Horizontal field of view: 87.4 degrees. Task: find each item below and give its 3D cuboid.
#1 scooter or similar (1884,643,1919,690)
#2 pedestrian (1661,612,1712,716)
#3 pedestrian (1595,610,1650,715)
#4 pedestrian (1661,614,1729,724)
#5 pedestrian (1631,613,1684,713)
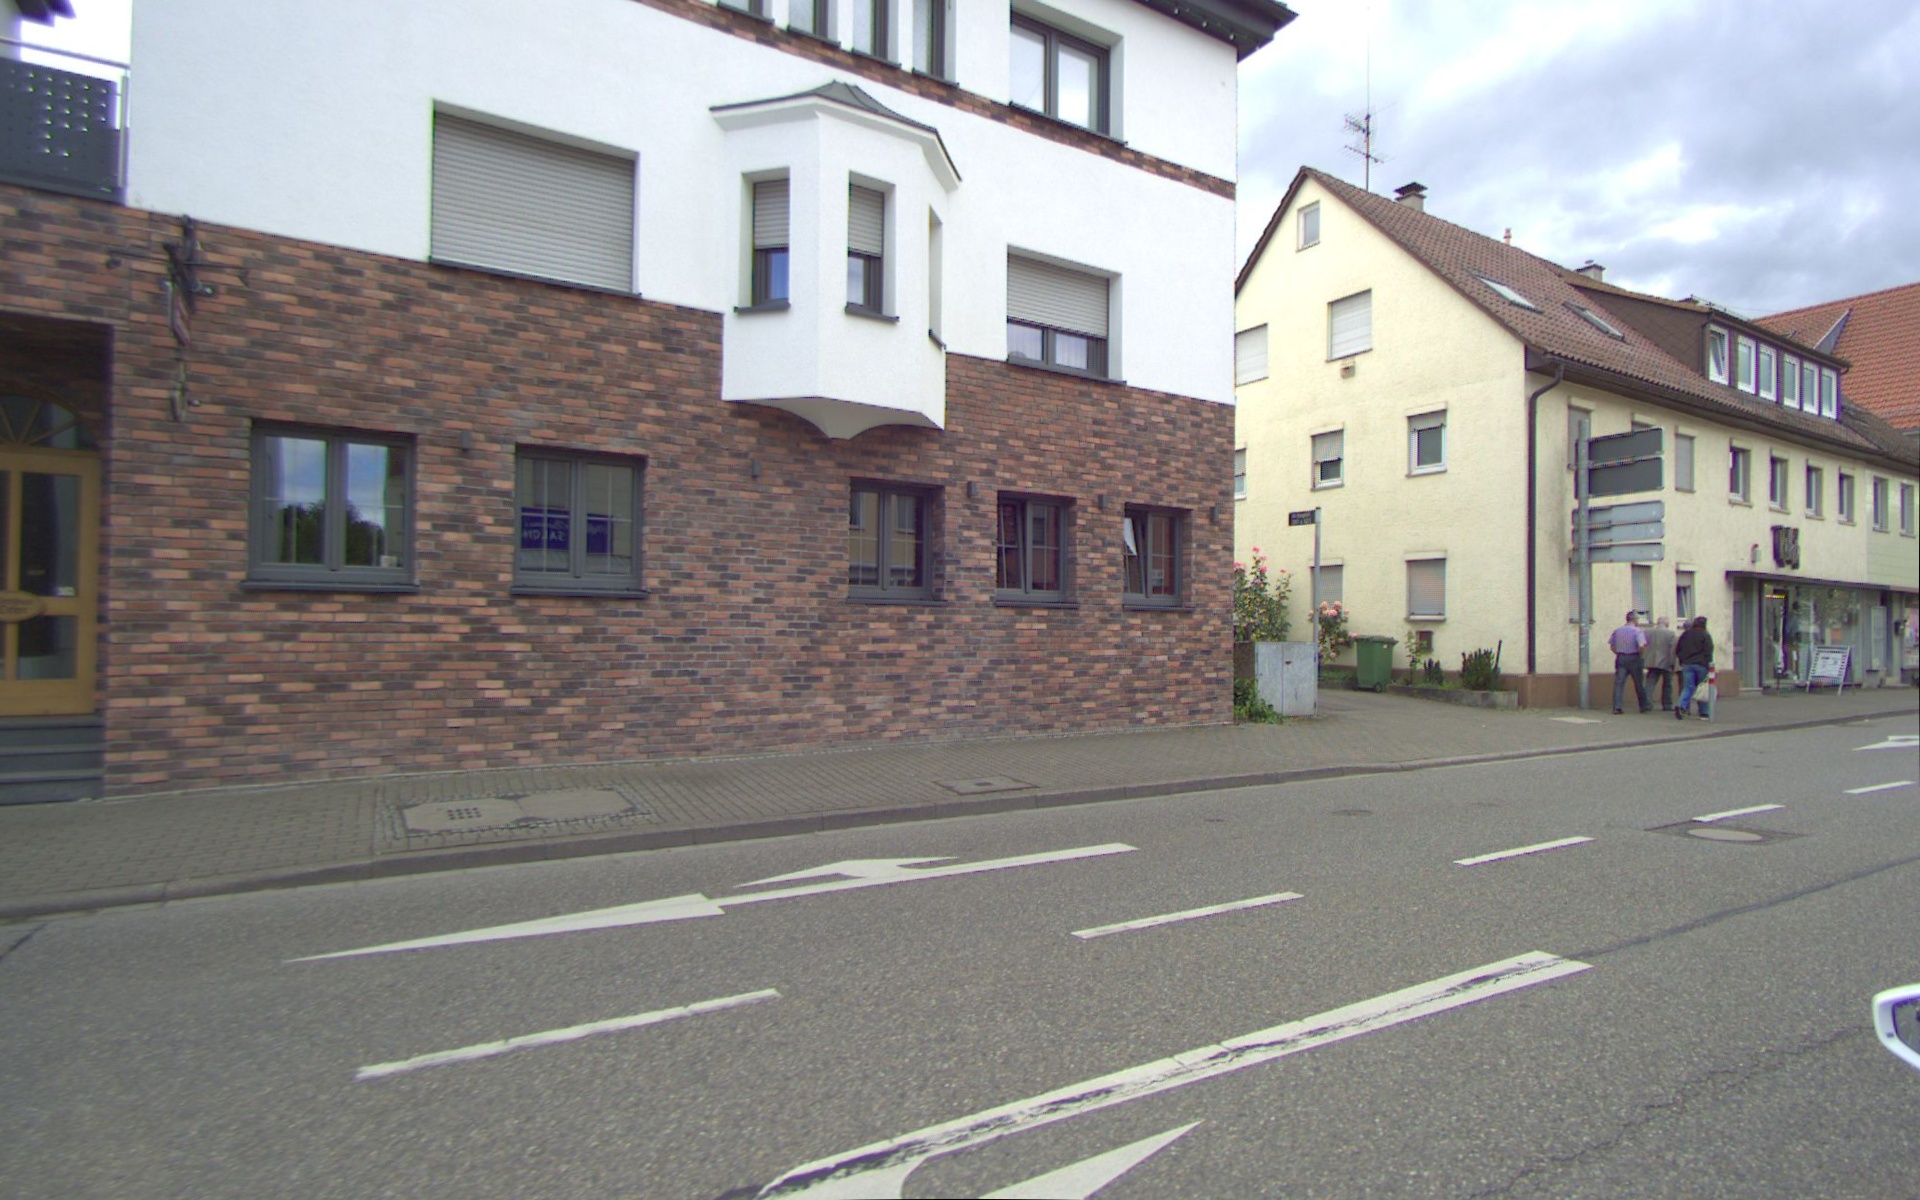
[{"bbox_3d":[24.965,1.735,26.404,1.701,1.185,0.525,1,0,-31],"label":"scooter or similar"},{"bbox_3d":[12.555,1.094,17.353,0.640,1.760,0.494,1,-1,-30],"label":"pedestrian"},{"bbox_3d":[11.354,1.055,17.210,0.640,1.760,0.551,1,-1,-30],"label":"pedestrian"},{"bbox_3d":[12.179,1.122,16.648,0.709,1.760,0.674,1,-1,-30],"label":"pedestrian"},{"bbox_3d":[12.477,1.112,17.979,0.640,1.760,0.551,1,-1,-30],"label":"pedestrian"}]
